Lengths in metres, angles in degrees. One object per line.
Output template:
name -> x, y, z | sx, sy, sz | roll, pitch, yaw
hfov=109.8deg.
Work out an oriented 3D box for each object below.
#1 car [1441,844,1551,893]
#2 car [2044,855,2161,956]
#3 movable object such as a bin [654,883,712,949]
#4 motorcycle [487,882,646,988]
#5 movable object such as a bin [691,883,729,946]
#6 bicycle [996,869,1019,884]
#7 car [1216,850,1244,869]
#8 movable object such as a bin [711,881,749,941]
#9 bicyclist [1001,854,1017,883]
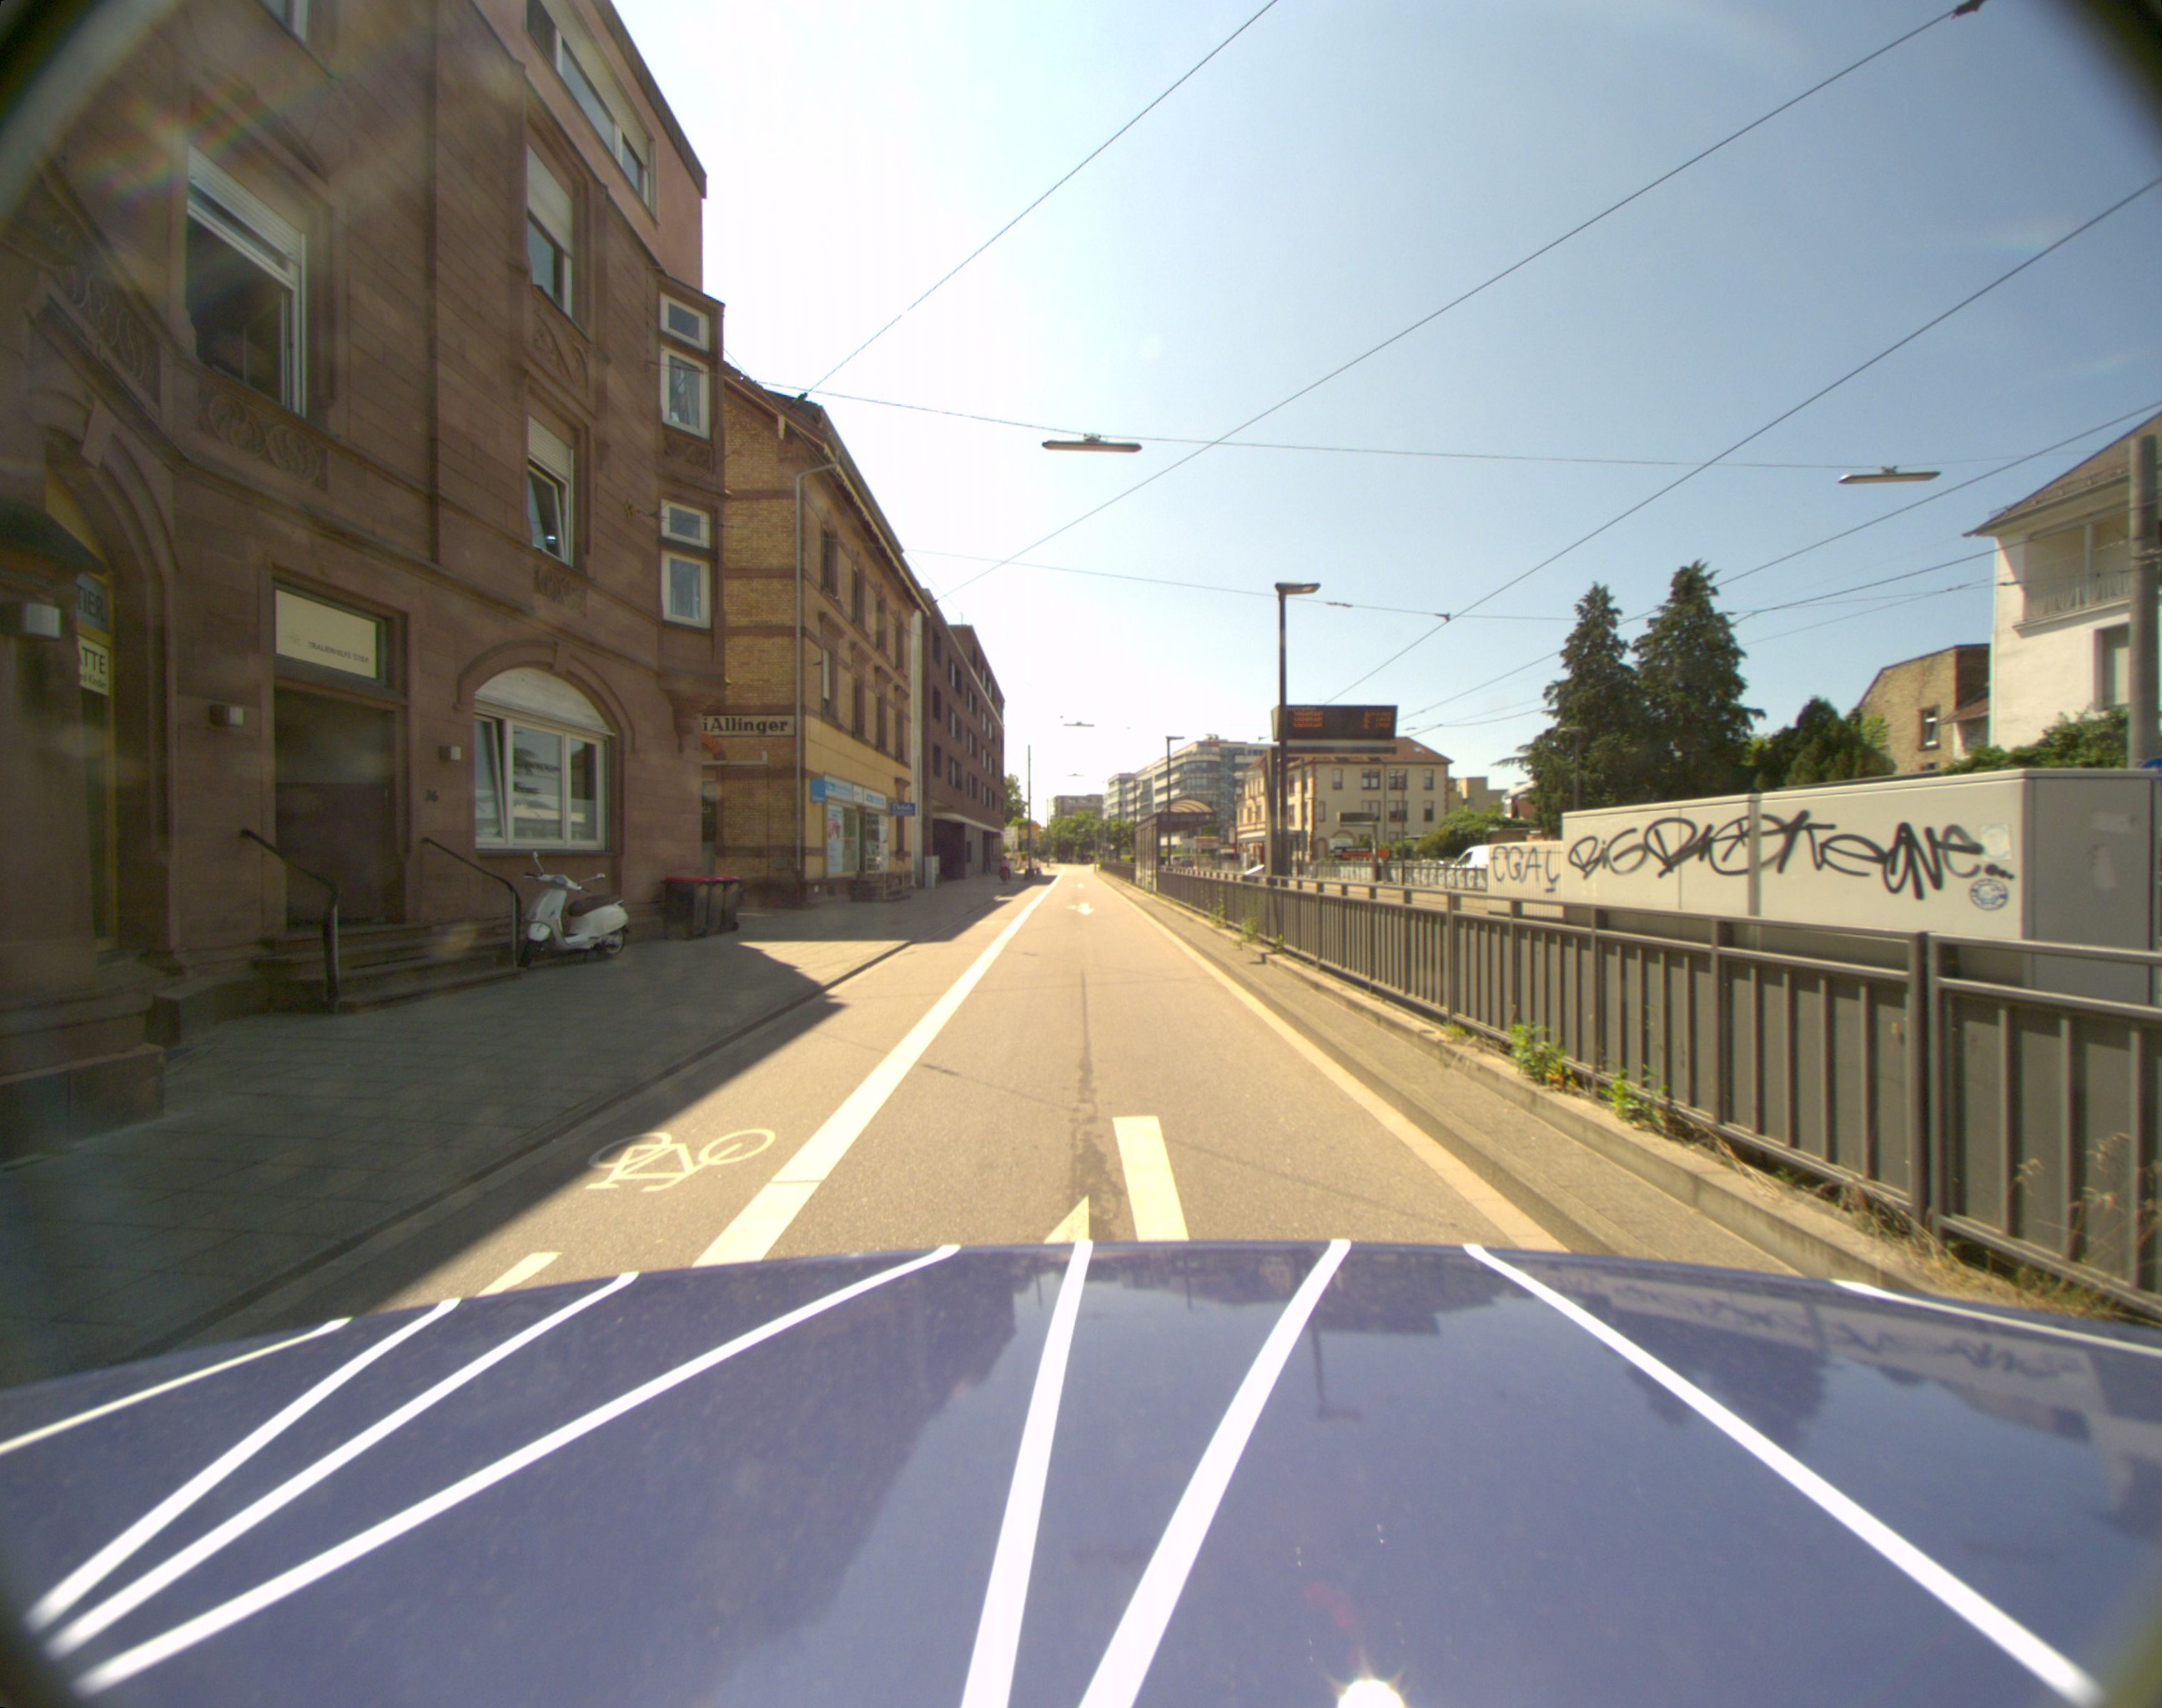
car -> 16.443, 0.525, 30.449 | 1.860, 1.806, 4.698 | 1, 0, 1
car -> 16.452, 0.752, 9.934 | 1.822, 1.459, 4.623 | 1, 0, -1
movable object such as a bin -> -6.684, 1.035, 12.791 | 0.649, 1.042, 0.559 | 2, 0, -1
motorcycle -> -6.439, 0.966, 9.653 | 0.527, 1.142, 1.881 | 0, 0, 8
movable object such as a bin -> -6.524, 1.053, 13.368 | 0.376, 1.042, 0.559 | 2, 0, 0
bicycle -> -4.331, 1.318, 45.031 | 0.689, 0.793, 1.910 | -1, 0, 15
car -> 15.133, 0.521, 77.388 | 1.999, 1.827, 3.999 | -1, 0, -1
movable object such as a bin -> -6.472, 1.042, 14.017 | 0.376, 1.042, 0.657 | 2, 0, 0
bicyclist -> -4.273, 0.851, 45.194 | 0.670, 1.712, 0.929 | 0, 0, 17
